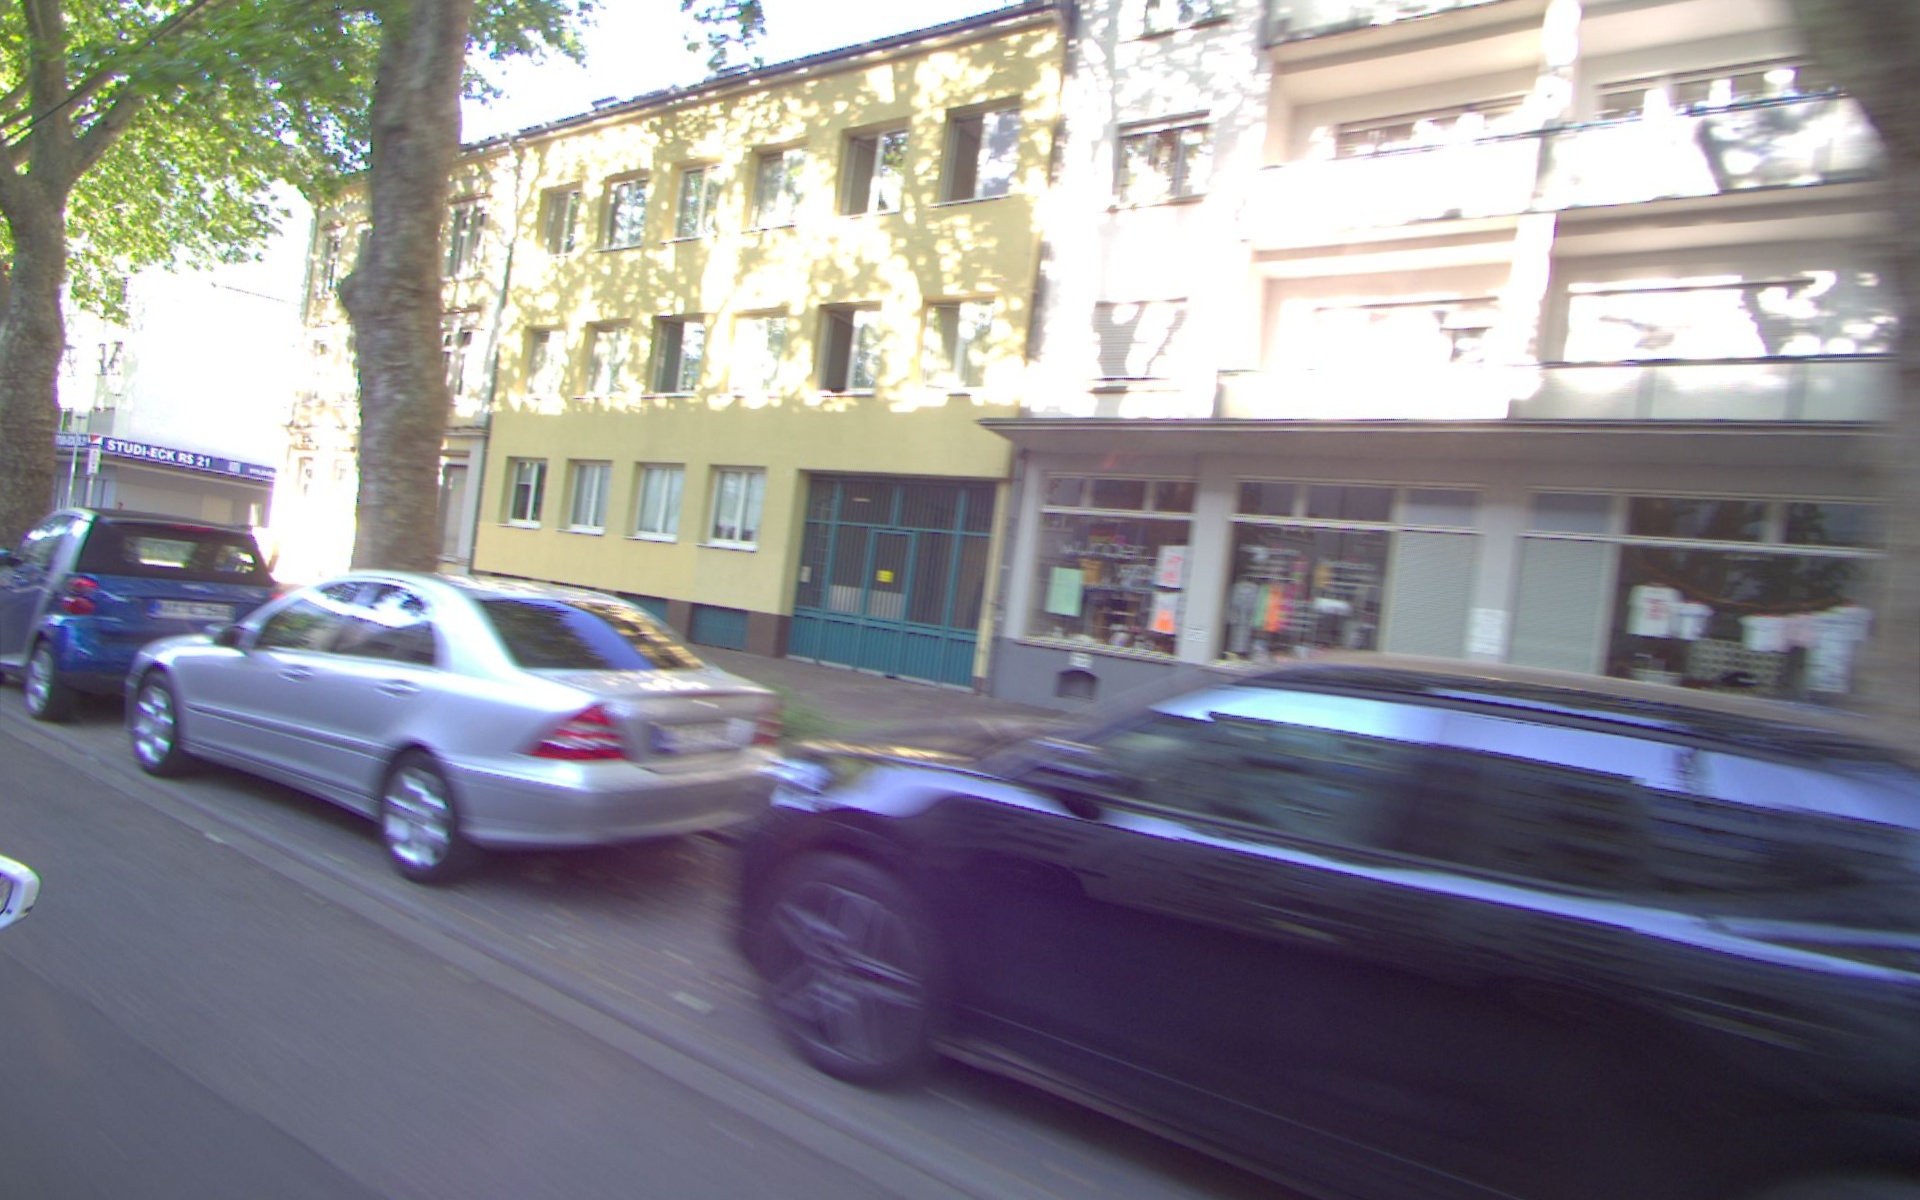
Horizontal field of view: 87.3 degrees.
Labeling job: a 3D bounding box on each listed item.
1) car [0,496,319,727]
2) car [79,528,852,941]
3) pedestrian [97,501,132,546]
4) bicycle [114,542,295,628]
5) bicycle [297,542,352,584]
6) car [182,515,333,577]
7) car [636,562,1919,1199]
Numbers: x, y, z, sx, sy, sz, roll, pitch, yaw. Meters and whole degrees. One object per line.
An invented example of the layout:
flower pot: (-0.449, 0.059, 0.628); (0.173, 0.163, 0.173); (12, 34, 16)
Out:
car: (-6.846, 0.036, 8.291); (2.864, 1.538, 1.564); (6, 0, 35)
car: (-3.082, 0.529, 6.021); (4.524, 1.453, 1.820); (6, 0, 29)
pedestrian: (-33.363, -3.016, 39.708); (0.655, 1.664, 0.747); (7, 0, 34)
bicycle: (-10.644, -0.198, 14.260); (1.948, 1.019, 0.507); (5, 2, -32)
bicycle: (-19.603, -1.145, 31.017); (1.891, 1.118, 0.583); (7, 1, 32)
car: (-26.472, -1.999, 38.065); (1.965, 1.611, 4.142); (7, -2, 27)
car: (1.383, 0.940, 3.205); (4.702, 1.623, 1.860); (6, 0, 31)
